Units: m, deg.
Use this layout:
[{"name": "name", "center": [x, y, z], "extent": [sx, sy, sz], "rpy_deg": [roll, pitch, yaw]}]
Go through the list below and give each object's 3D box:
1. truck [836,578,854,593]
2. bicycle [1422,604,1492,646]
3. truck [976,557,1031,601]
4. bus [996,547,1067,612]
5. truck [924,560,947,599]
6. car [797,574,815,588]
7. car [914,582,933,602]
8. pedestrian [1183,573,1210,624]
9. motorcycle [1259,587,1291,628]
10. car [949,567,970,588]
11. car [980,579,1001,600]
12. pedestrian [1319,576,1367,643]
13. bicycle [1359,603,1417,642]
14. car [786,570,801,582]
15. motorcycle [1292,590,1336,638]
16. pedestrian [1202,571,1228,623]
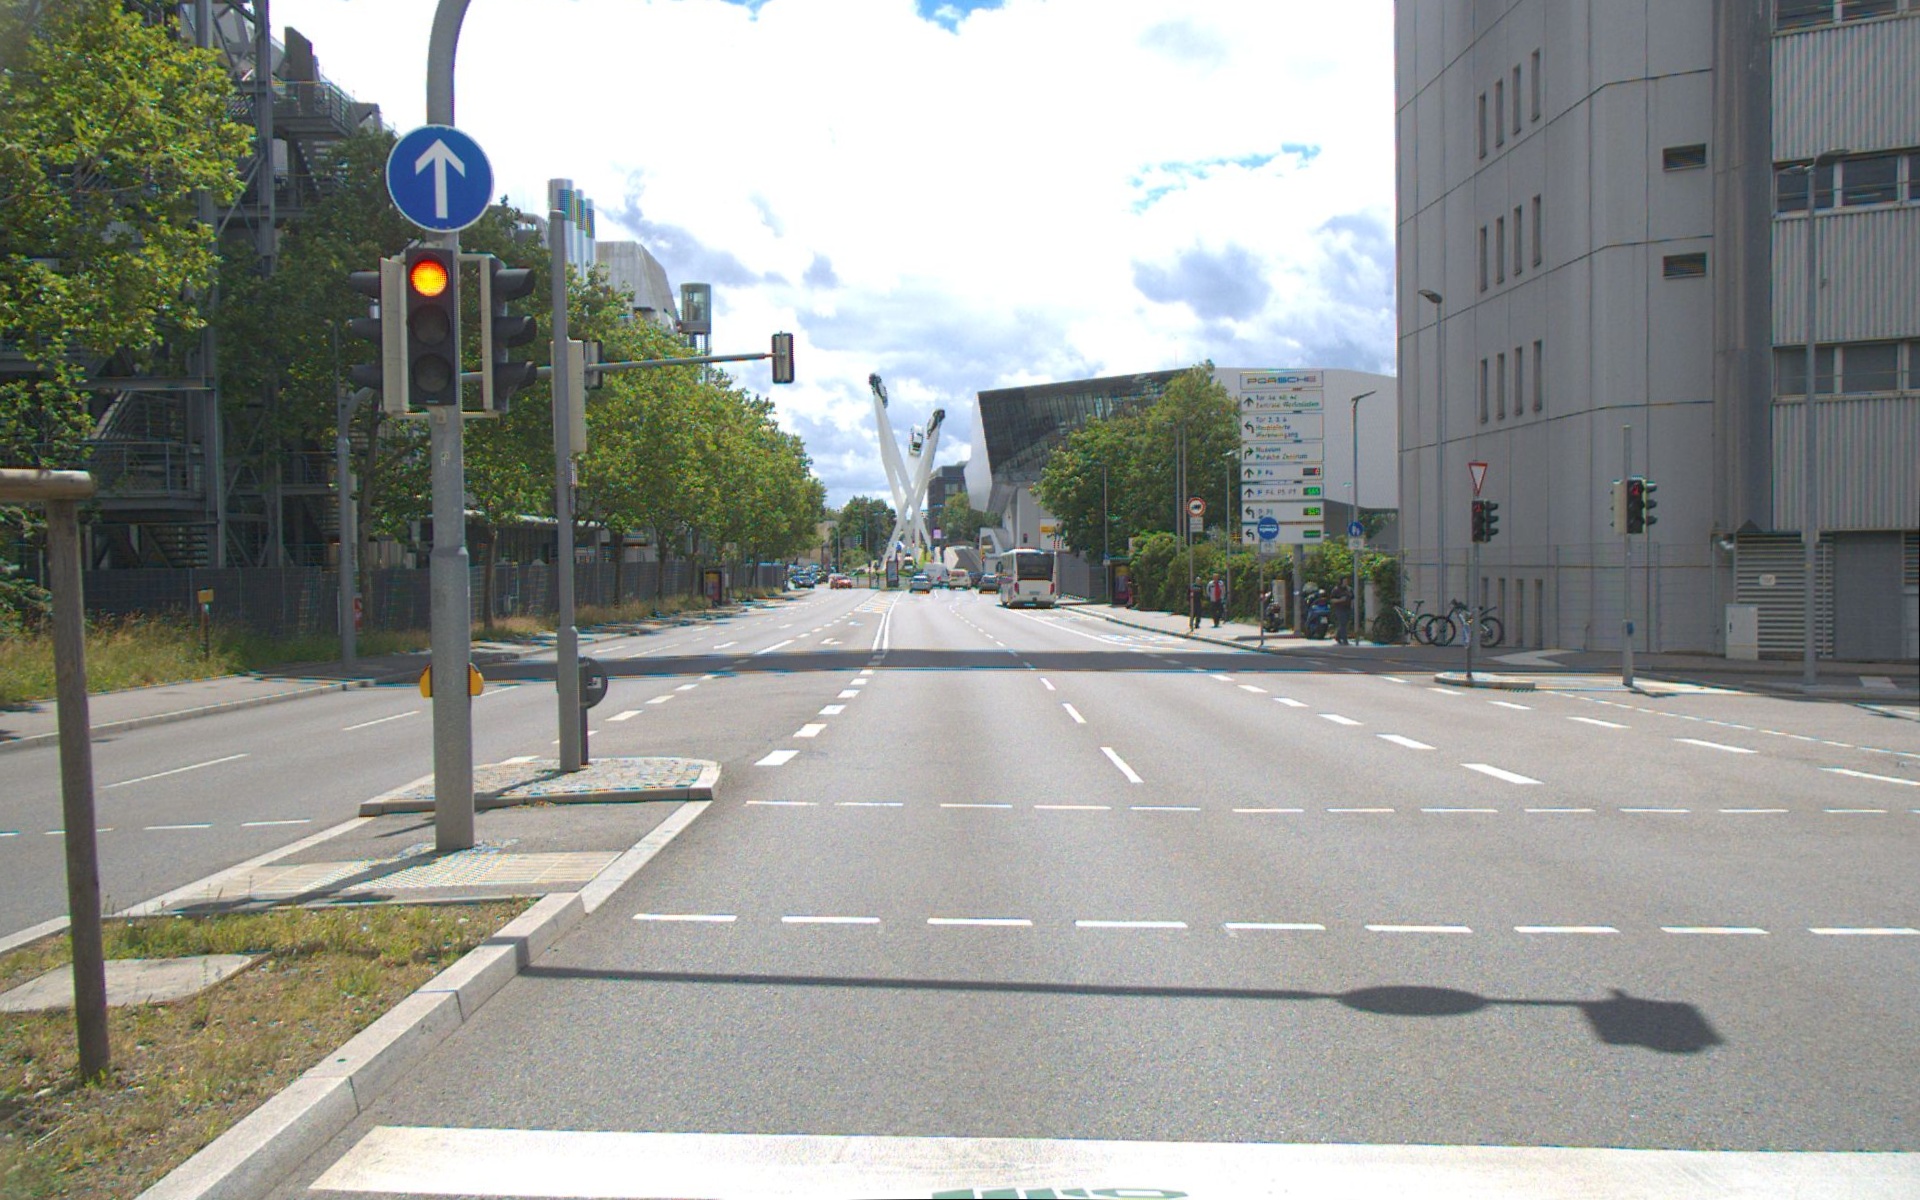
[{"name": "truck", "center": [-12.629, -1.602, 180.875], "extent": [1.555, 1.564, 3.669], "rpy_deg": [0, 0, -11]}, {"name": "bicycle", "center": [11.654, 0.581, 38.841], "extent": [0.392, 0.953, 1.912], "rpy_deg": [0, 0, -26]}, {"name": "truck", "center": [4.584, -2.152, 171.697], "extent": [3.379, 4.468, 9.426], "rpy_deg": [0, 0, 17]}, {"name": "bus", "center": [4.148, -1.188, 98.452], "extent": [3.383, 3.605, 10.601], "rpy_deg": [0, 0, -2]}, {"name": "truck", "center": [-2.528, -2.134, 172.083], "extent": [2.343, 3.965, 6.176], "rpy_deg": [0, 0, -1]}, {"name": "car", "center": [-18.362, -2.289, 197.302], "extent": [1.782, 1.564, 3.678], "rpy_deg": [-2, 0, -1]}, {"name": "car", "center": [-3.186, -0.724, 145.202], "extent": [1.703, 1.772, 3.691], "rpy_deg": [0, 0, -1]}, {"name": "pedestrian", "center": [8.095, -0.040, 56.636], "extent": [0.803, 1.737, 0.881], "rpy_deg": [0, 0, -1]}, {"name": "motorcycle", "center": [10.070, 0.229, 52.886], "extent": [0.562, 1.224, 2.024], "rpy_deg": [-2, 1, -1]}, {"name": "car", "center": [-0.027, -2.241, 165.671], "extent": [1.952, 2.049, 4.000], "rpy_deg": [1, -1, 2]}, {"name": "car", "center": [2.702, -0.937, 146.397], "extent": [1.703, 1.772, 3.691], "rpy_deg": [0, 0, -1]}, {"name": "pedestrian", "center": [9.551, 0.231, 41.279], "extent": [0.834, 1.653, 0.951], "rpy_deg": [0, 0, 40]}, {"name": "bicycle", "center": [10.620, 0.547, 41.112], "extent": [0.391, 0.953, 1.917], "rpy_deg": [0, 0, -19]}, {"name": "car", "center": [-22.713, -3.218, 225.740], "extent": [1.782, 1.564, 3.676], "rpy_deg": [-2, 0, -3]}, {"name": "motorcycle", "center": [9.622, 0.355, 45.019], "extent": [0.692, 1.224, 2.024], "rpy_deg": [-2, 1, -1]}, {"name": "pedestrian", "center": [8.731, -0.095, 56.629], "extent": [0.803, 1.772, 0.637], "rpy_deg": [0, 0, -1]}]
